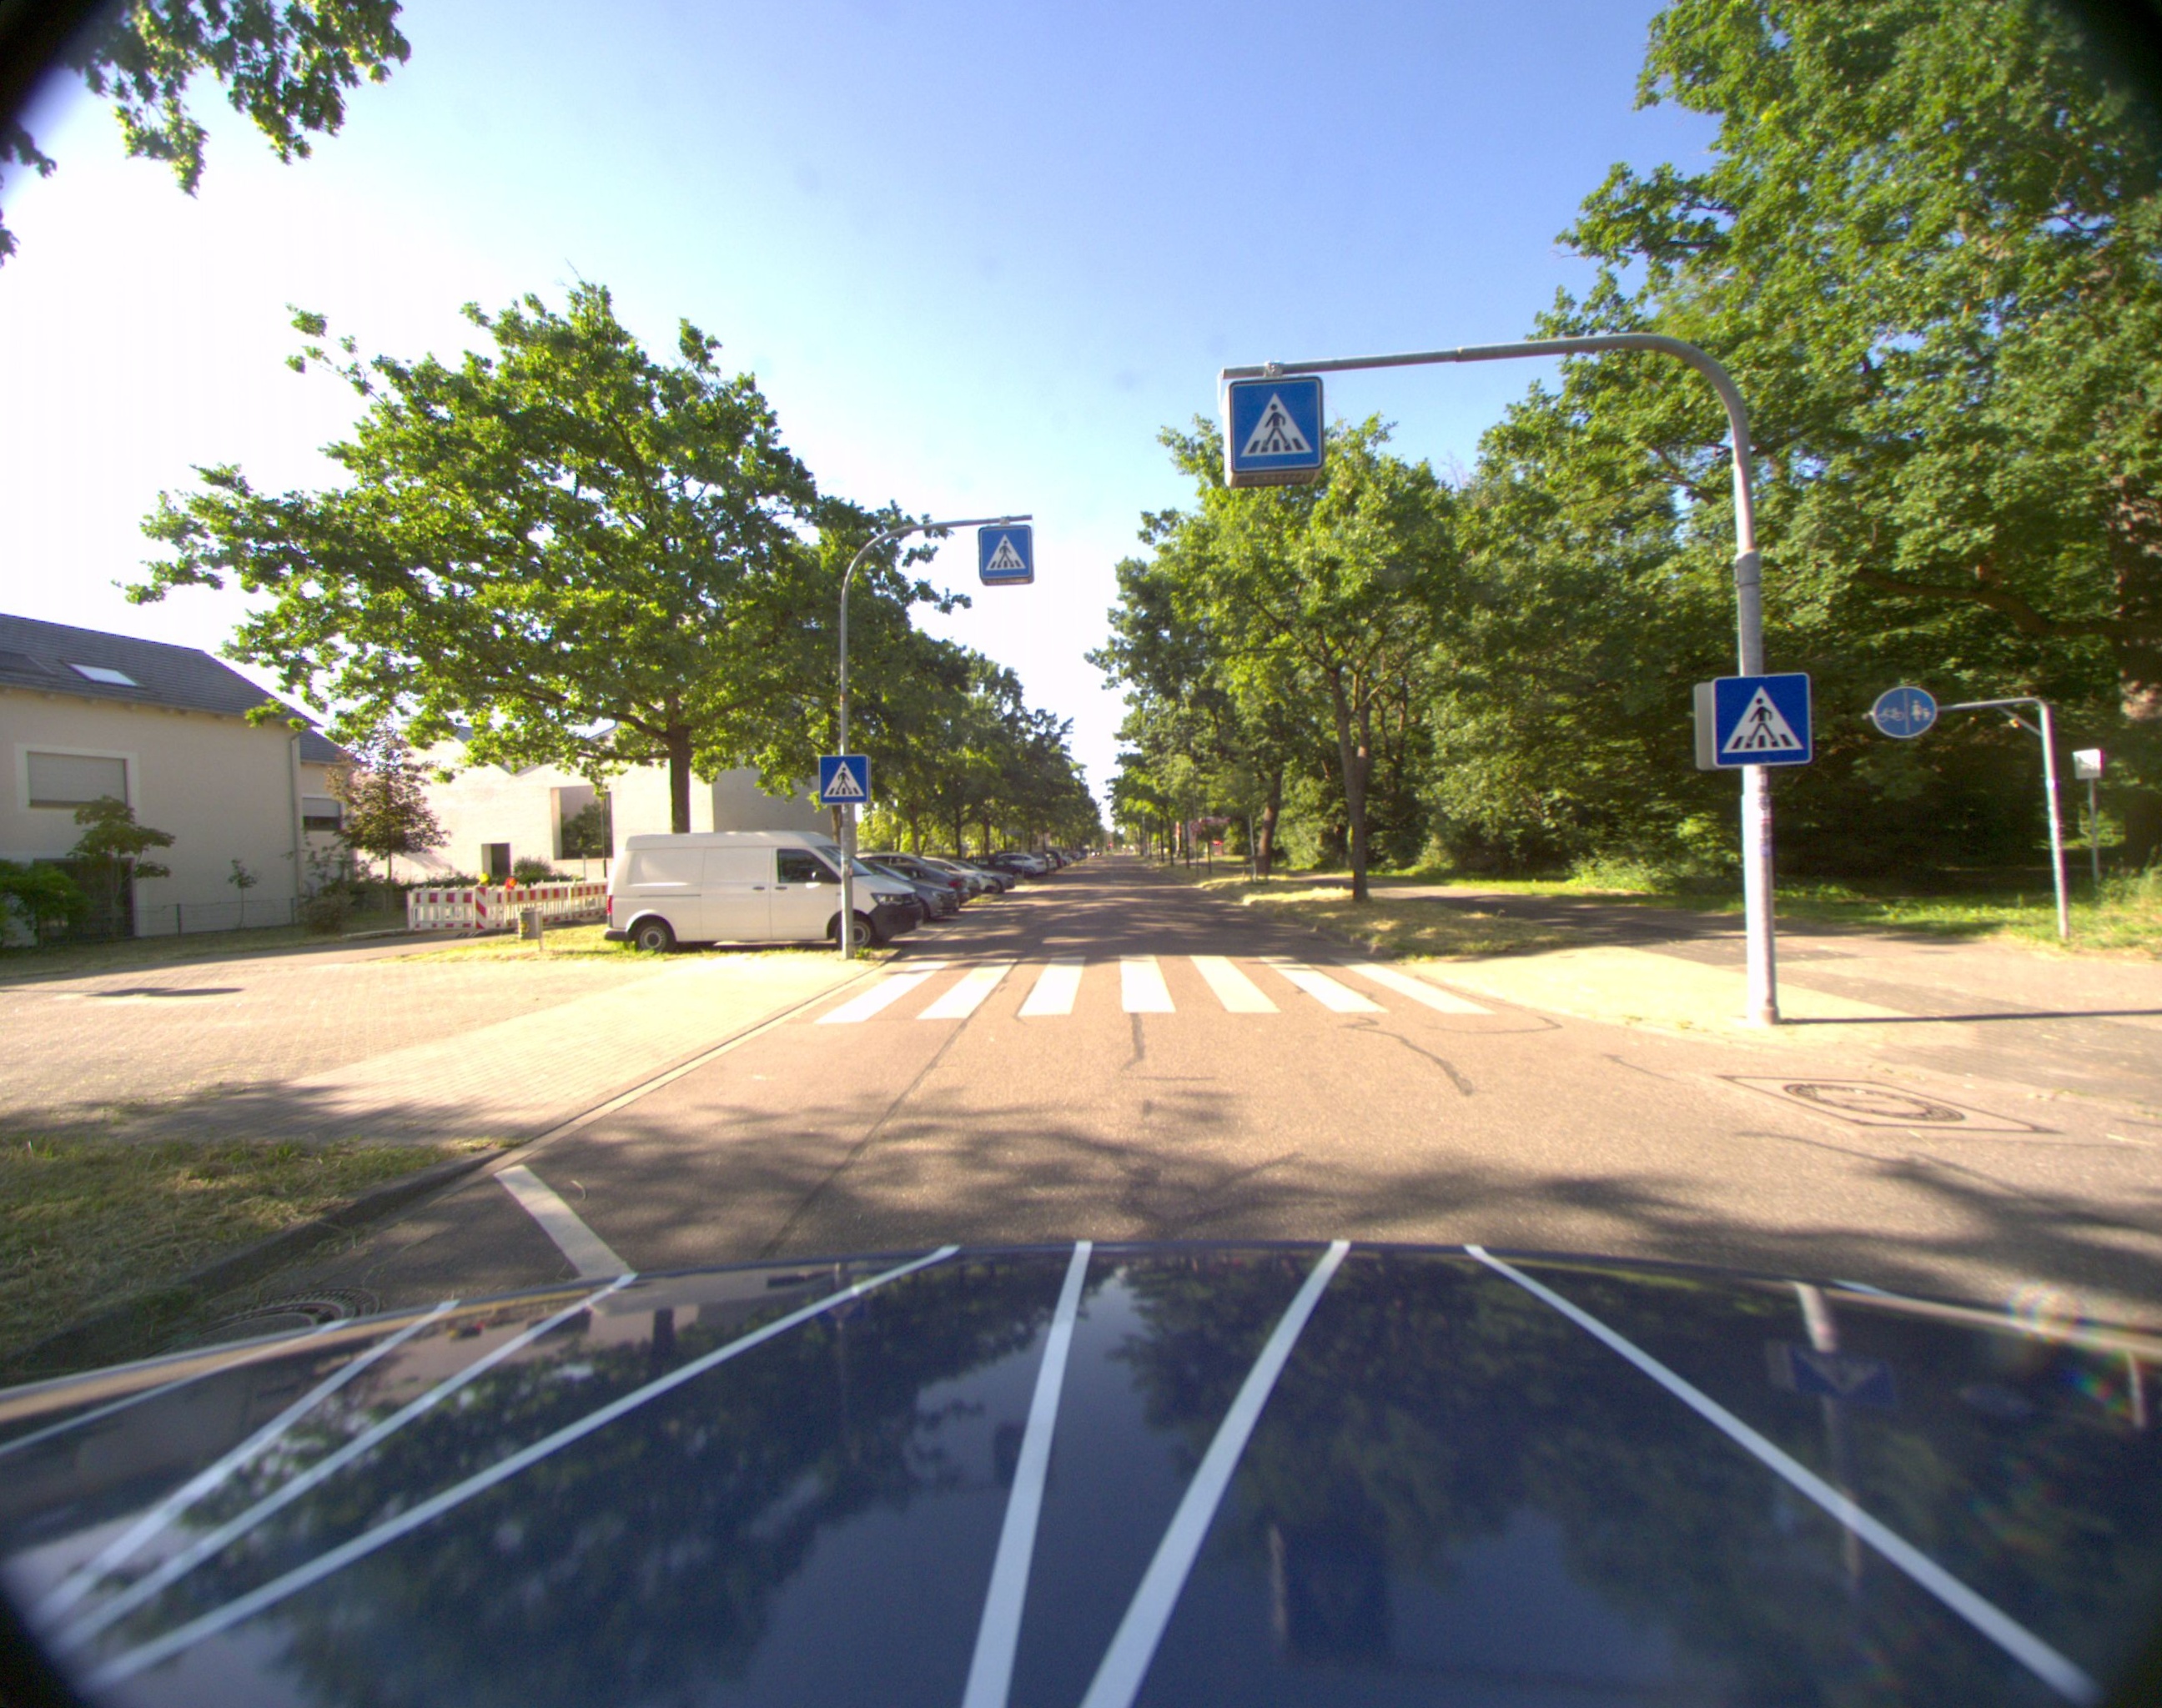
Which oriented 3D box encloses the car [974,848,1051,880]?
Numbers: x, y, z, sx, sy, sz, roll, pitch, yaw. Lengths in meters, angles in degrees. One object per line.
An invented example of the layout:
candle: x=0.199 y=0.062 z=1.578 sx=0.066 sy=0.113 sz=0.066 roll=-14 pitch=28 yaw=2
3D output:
car: x=-4.140 y=0.597 z=46.359 sx=4.394 sy=1.733 sz=1.533 roll=-3 pitch=1 yaw=4

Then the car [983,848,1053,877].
car: x=-4.182 y=0.558 z=50.518 sx=4.394 sy=1.733 sz=1.533 roll=-3 pitch=1 yaw=4

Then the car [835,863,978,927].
car: x=-4.782 y=1.125 z=21.087 sx=3.515 sy=1.533 sz=1.448 roll=-3 pitch=1 yaw=4

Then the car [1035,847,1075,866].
car: x=-2.710 y=0.235 z=80.259 sx=3.996 sy=1.838 sz=1.863 roll=-3 pitch=1 yaw=3

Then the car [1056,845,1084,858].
car: x=-1.746 y=-0.343 z=117.541 sx=4.151 sy=1.838 sz=1.949 roll=-3 pitch=1 yaw=3

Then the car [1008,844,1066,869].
car: x=-3.468 y=0.220 z=60.103 sx=4.394 sy=1.733 sz=1.533 roll=-3 pitch=1 yaw=4

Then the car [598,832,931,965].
car: x=-5.410 y=0.727 z=13.450 sx=5.045 sy=2.069 sz=1.891 roll=-1 pitch=1 yaw=2

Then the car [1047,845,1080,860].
car: x=-2.347 y=-0.211 z=101.212 sx=4.151 sy=1.838 sz=1.949 roll=-3 pitch=1 yaw=3

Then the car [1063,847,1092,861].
car: x=-0.485 y=-0.027 z=112.442 sx=4.151 sy=1.838 sz=1.949 roll=-3 pitch=1 yaw=3

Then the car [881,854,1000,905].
car: x=-5.180 y=0.919 z=28.248 sx=4.018 sy=1.669 sz=1.533 roll=-3 pitch=1 yaw=4

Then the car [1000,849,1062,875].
car: x=-3.768 y=0.570 z=57.623 sx=4.394 sy=1.733 sz=1.533 roll=-3 pitch=1 yaw=4

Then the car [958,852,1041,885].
car: x=-4.610 y=0.821 z=43.346 sx=4.394 sy=1.632 sz=1.533 roll=-3 pitch=1 yaw=4

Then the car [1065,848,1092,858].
car: x=-0.412 y=-0.114 z=122.409 sx=4.151 sy=1.401 sz=1.800 roll=-3 pitch=1 yaw=3

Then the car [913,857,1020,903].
car: x=-4.649 y=1.033 z=31.229 sx=4.018 sy=1.650 sz=1.533 roll=-3 pitch=1 yaw=4

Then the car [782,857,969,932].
car: x=-4.958 y=0.964 z=18.642 sx=3.996 sy=1.554 sz=1.758 roll=-3 pitch=1 yaw=4

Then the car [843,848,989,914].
car: x=-5.059 y=0.812 z=23.645 sx=4.018 sy=1.783 sz=1.713 roll=-3 pitch=1 yaw=4

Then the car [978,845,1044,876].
car: x=-4.910 y=0.425 z=53.810 sx=4.394 sy=1.977 sz=1.533 roll=-3 pitch=1 yaw=4
